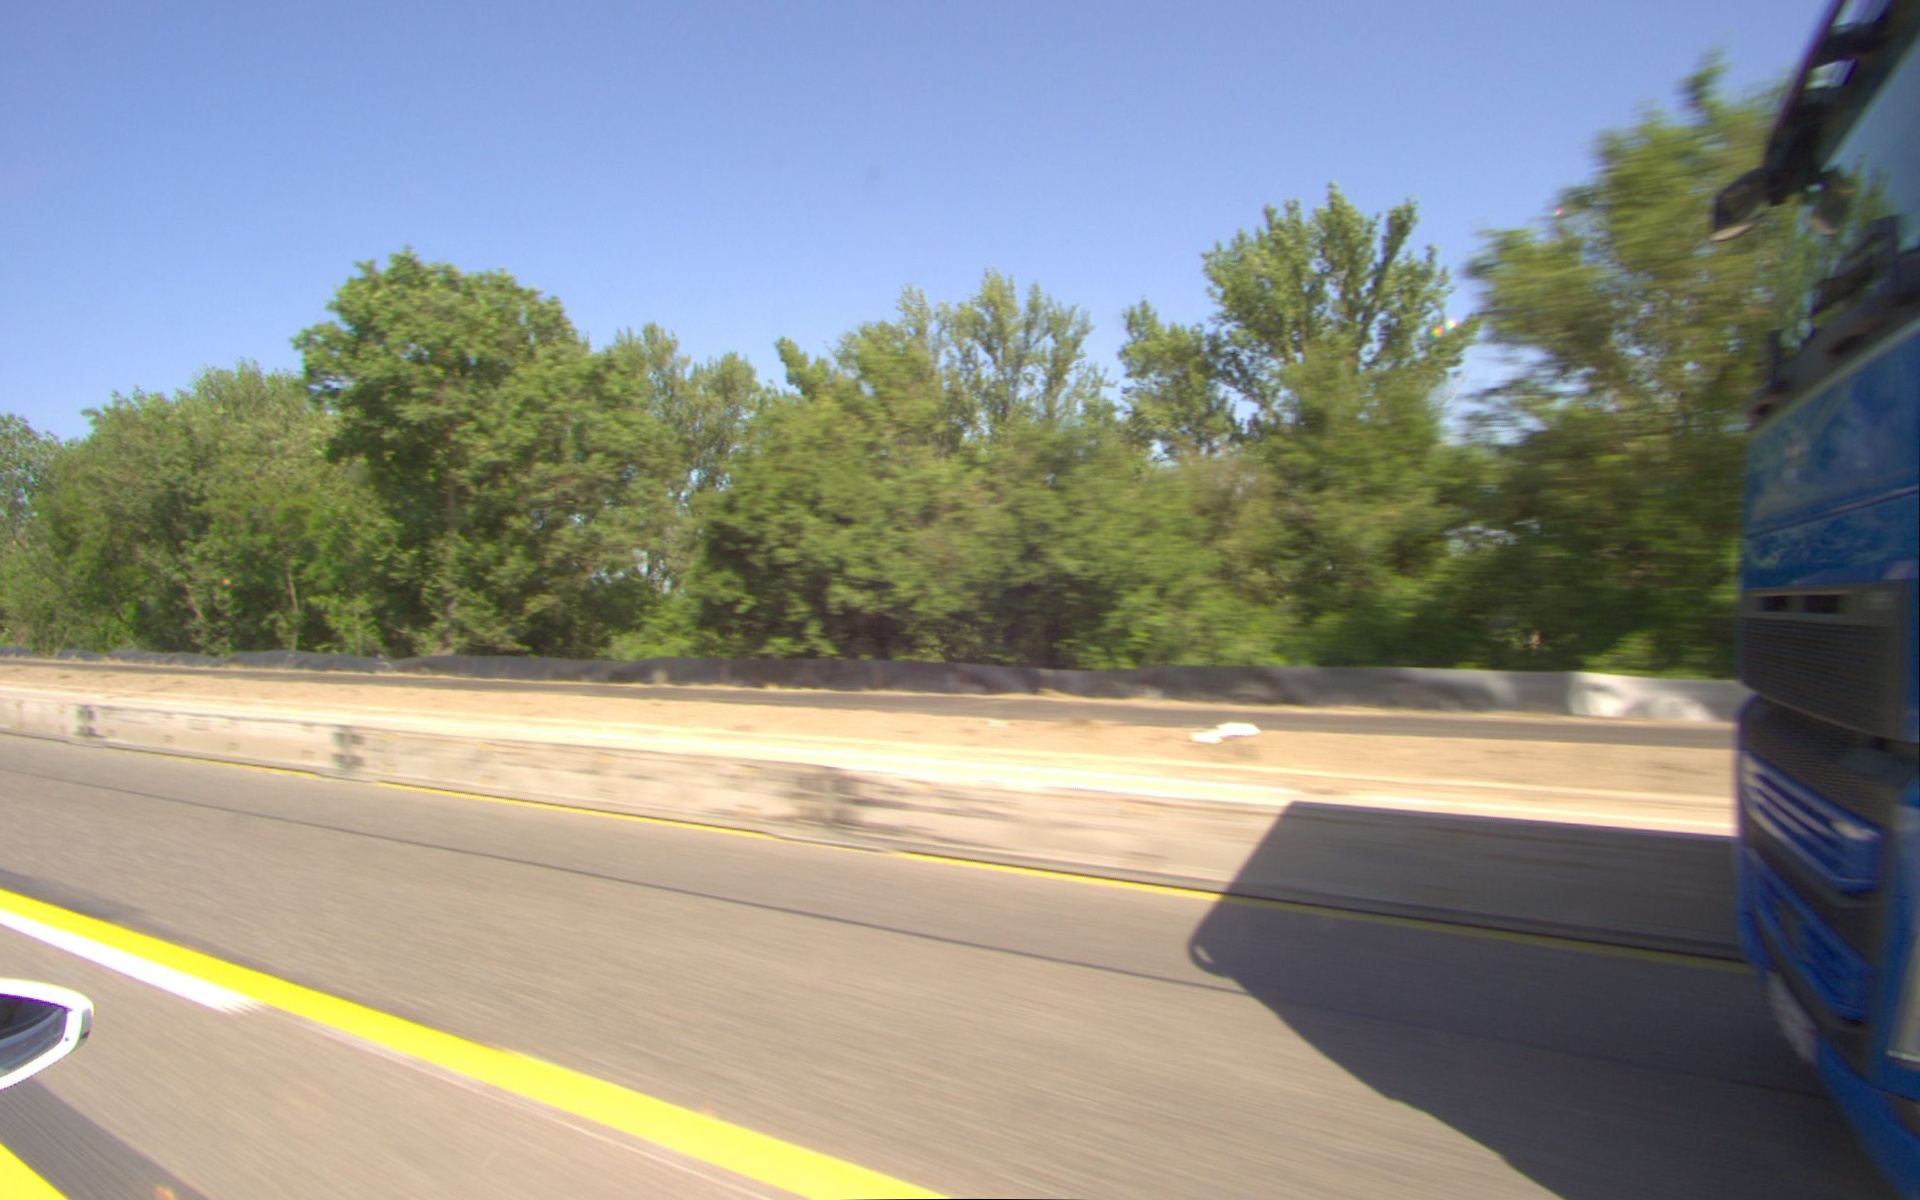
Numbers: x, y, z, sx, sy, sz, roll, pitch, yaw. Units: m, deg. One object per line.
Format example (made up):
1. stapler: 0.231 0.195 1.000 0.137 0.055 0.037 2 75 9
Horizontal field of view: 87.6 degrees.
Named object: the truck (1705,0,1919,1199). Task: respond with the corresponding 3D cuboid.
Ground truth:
1. truck: 5.337 -0.556 0.862 7.189 4.158 2.690 -1 2 29
